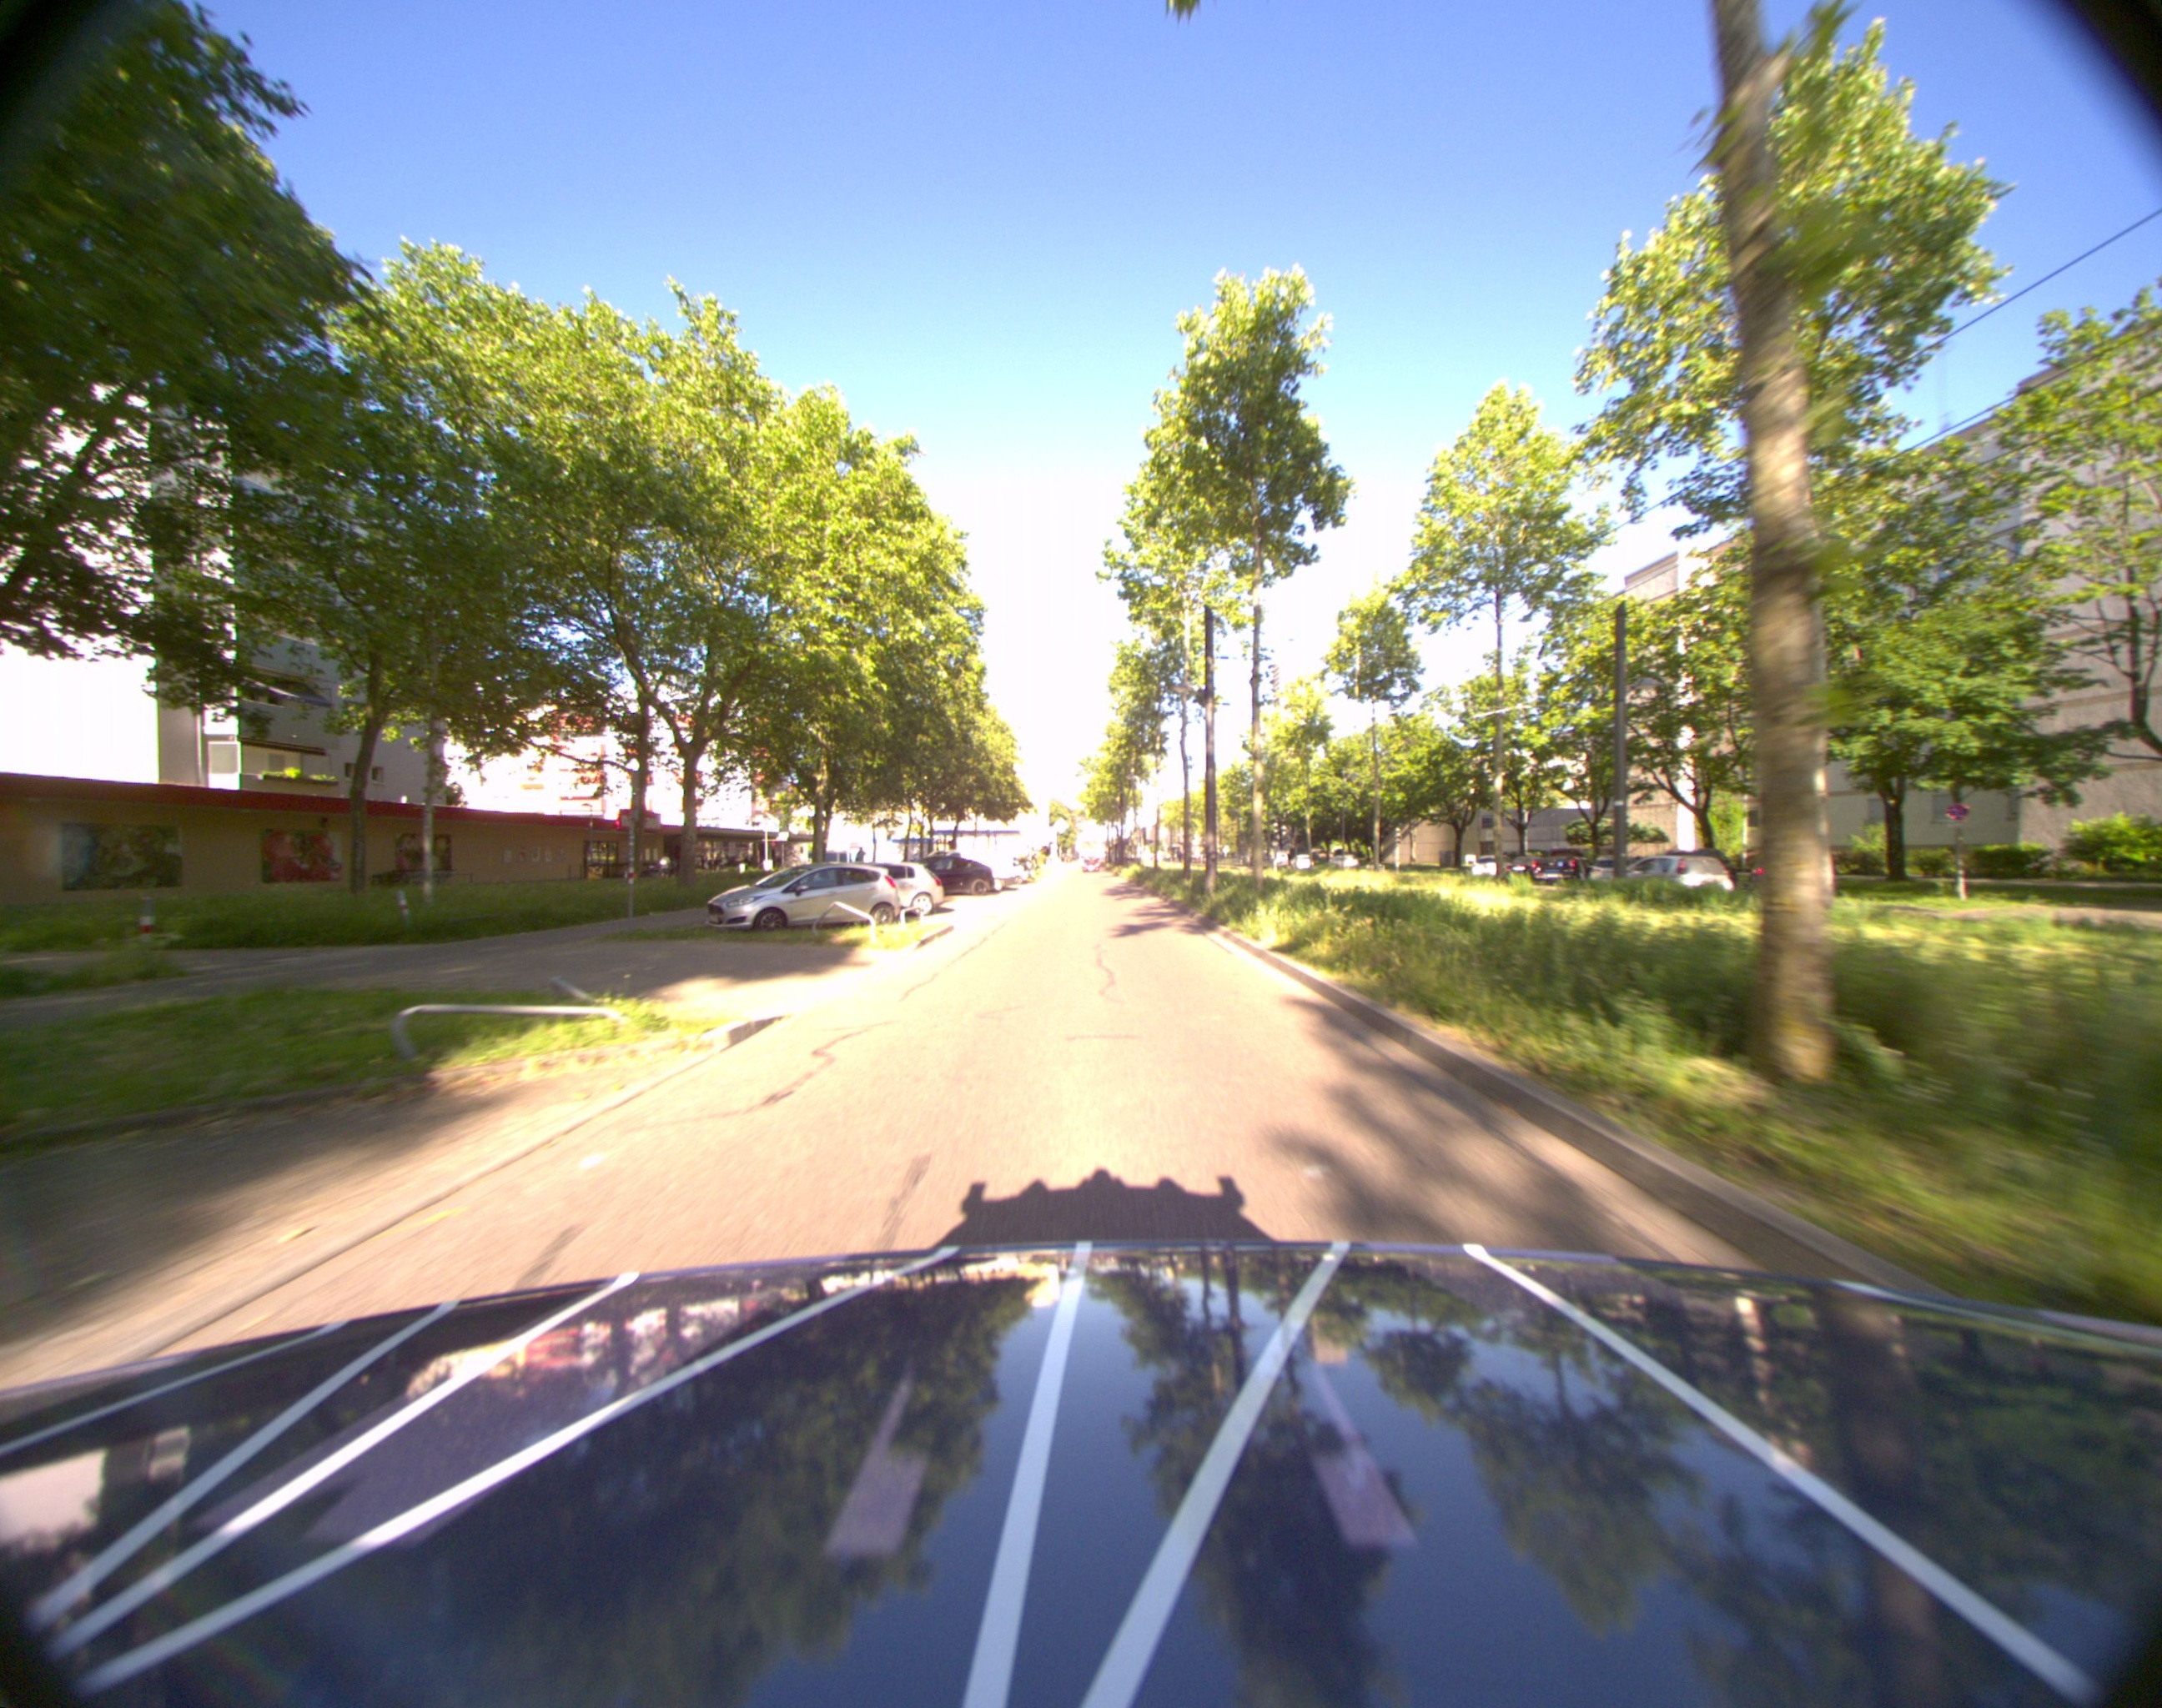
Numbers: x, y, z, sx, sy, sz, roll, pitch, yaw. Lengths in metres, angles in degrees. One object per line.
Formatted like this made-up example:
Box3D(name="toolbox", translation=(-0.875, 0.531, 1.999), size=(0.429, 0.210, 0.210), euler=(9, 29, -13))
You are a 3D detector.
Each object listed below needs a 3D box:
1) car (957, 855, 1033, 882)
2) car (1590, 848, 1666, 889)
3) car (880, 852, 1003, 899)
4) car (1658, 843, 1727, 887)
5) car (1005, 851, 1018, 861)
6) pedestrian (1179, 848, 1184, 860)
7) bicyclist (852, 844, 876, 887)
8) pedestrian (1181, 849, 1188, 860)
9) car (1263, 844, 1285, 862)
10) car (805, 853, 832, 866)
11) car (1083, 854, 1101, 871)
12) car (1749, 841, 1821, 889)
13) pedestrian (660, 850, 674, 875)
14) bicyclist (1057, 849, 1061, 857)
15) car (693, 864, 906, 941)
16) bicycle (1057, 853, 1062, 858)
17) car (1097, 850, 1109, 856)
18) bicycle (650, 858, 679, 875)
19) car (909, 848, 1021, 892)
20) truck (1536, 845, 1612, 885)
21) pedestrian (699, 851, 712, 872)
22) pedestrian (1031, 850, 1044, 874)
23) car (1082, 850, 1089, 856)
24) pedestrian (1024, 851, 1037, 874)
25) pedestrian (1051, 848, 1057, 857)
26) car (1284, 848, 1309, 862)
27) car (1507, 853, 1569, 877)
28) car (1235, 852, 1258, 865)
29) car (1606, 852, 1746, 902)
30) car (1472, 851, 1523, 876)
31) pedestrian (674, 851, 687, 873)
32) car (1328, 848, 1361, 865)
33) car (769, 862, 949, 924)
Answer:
Box3D(name="car", translation=(-4.978, 0.828, 44.293), size=(4.005, 1.461, 1.756), euler=(2, 0, -30))
Box3D(name="car", translation=(24.106, 0.597, 33.441), size=(4.093, 1.637, 1.646), euler=(-1, 2, -39))
Box3D(name="car", translation=(-5.454, 0.795, 30.047), size=(4.512, 1.695, 1.756), euler=(0, 1, -40))
Box3D(name="car", translation=(24.420, 0.426, 30.291), size=(4.094, 1.636, 1.647), euler=(0, -2, -45))
Box3D(name="car", translation=(-10.205, 0.253, 111.438), size=(1.725, 1.455, 4.003), euler=(-1, 0, -4))
Box3D(name="pedestrian", translation=(16.107, 0.049, 121.685), size=(0.722, 1.856, 0.637), euler=(-1, 1, 2))
Box3D(name="bicyclist", translation=(-8.851, 0.448, 31.002), size=(0.624, 1.730, 1.023), euler=(-1, 1, 1))
Box3D(name="pedestrian", translation=(16.475, 0.043, 120.788), size=(0.885, 1.680, 0.754), euler=(-1, 1, 2))
Box3D(name="car", translation=(23.818, -0.120, 93.754), size=(1.718, 2.249, 3.933), euler=(-1, 0, 0))
Box3D(name="car", translation=(-31.662, 0.623, 91.809), size=(1.874, 1.495, 4.113), euler=(-1, 1, 0))
Box3D(name="car", translation=(1.088, 0.799, 73.462), size=(1.619, 1.537, 4.277), euler=(-1, 1, 2))
Box3D(name="car", translation=(24.510, 0.360, 26.419), size=(1.647, 1.466, 4.093), euler=(-6, -4, 44))
Box3D(name="pedestrian", translation=(-27.455, 0.559, 50.387), size=(0.496, 1.690, 0.715), euler=(-1, 0, -4))
Box3D(name="bicyclist", translation=(-3.923, -0.189, 138.635), size=(0.678, 1.466, 0.936), euler=(-1, 1, 0))
Box3D(name="car", translation=(-5.880, 0.929, 16.168), size=(1.583, 1.365, 3.947), euler=(1, 1, 45))
Box3D(name="bicycle", translation=(-3.913, 0.231, 138.631), size=(0.684, 0.925, 1.736), euler=(-1, 0, 0))
Box3D(name="car", translation=(5.324, -0.254, 185.715), size=(1.545, 1.522, 3.597), euler=(-3, 1, -19))
Box3D(name="bicycle", translation=(-29.981, 0.898, 54.733), size=(0.598, 1.172, 1.853), euler=(-1, 1, 22))
Box3D(name="car", translation=(-5.154, 0.667, 34.146), size=(4.680, 1.842, 1.825), euler=(0, 1, -39))
Box3D(name="truck", translation=(24.057, 0.486, 37.064), size=(4.092, 1.765, 1.646), euler=(-2, 3, -35))
Box3D(name="pedestrian", translation=(-28.356, 0.601, 57.416), size=(0.673, 1.575, 0.715), euler=(-1, 0, -4))
Box3D(name="pedestrian", translation=(-3.326, 0.601, 58.028), size=(0.799, 1.874, 0.928), euler=(-1, 1, 5))
Box3D(name="car", translation=(1.423, -0.369, 242.592), size=(1.998, 1.806, 4.000), euler=(-2, 0, 0))
Box3D(name="pedestrian", translation=(-3.749, 0.632, 56.075), size=(0.714, 1.696, 0.652), euler=(0, 1, -33))
Box3D(name="pedestrian", translation=(-5.257, -0.261, 147.795), size=(0.790, 1.817, 1.032), euler=(0, 2, -16))
Box3D(name="car", translation=(23.385, 0.104, 82.578), size=(1.718, 1.537, 3.934), euler=(-1, 0, 4))
Box3D(name="car", translation=(24.877, 0.569, 41.326), size=(3.833, 1.239, 1.835), euler=(-1, 0, -41))
Box3D(name="car", translation=(19.723, 0.523, 90.620), size=(1.998, 1.381, 4.168), euler=(-1, 0, 3))
Box3D(name="car", translation=(19.597, 0.705, 25.243), size=(1.650, 1.477, 3.849), euler=(0, 1, 0))
Box3D(name="car", translation=(24.685, 0.530, 44.935), size=(1.835, 1.426, 3.833), euler=(0, 0, 42))
Box3D(name="pedestrian", translation=(-26.962, 0.541, 51.136), size=(0.533, 1.422, 0.715), euler=(-1, 0, -4))
Box3D(name="car", translation=(24.424, 0.225, 70.461), size=(1.718, 1.537, 4.201), euler=(-1, 0, 2))
Box3D(name="car", translation=(-5.740, 0.948, 19.959), size=(4.194, 1.404, 1.715), euler=(0, 1, -42))
